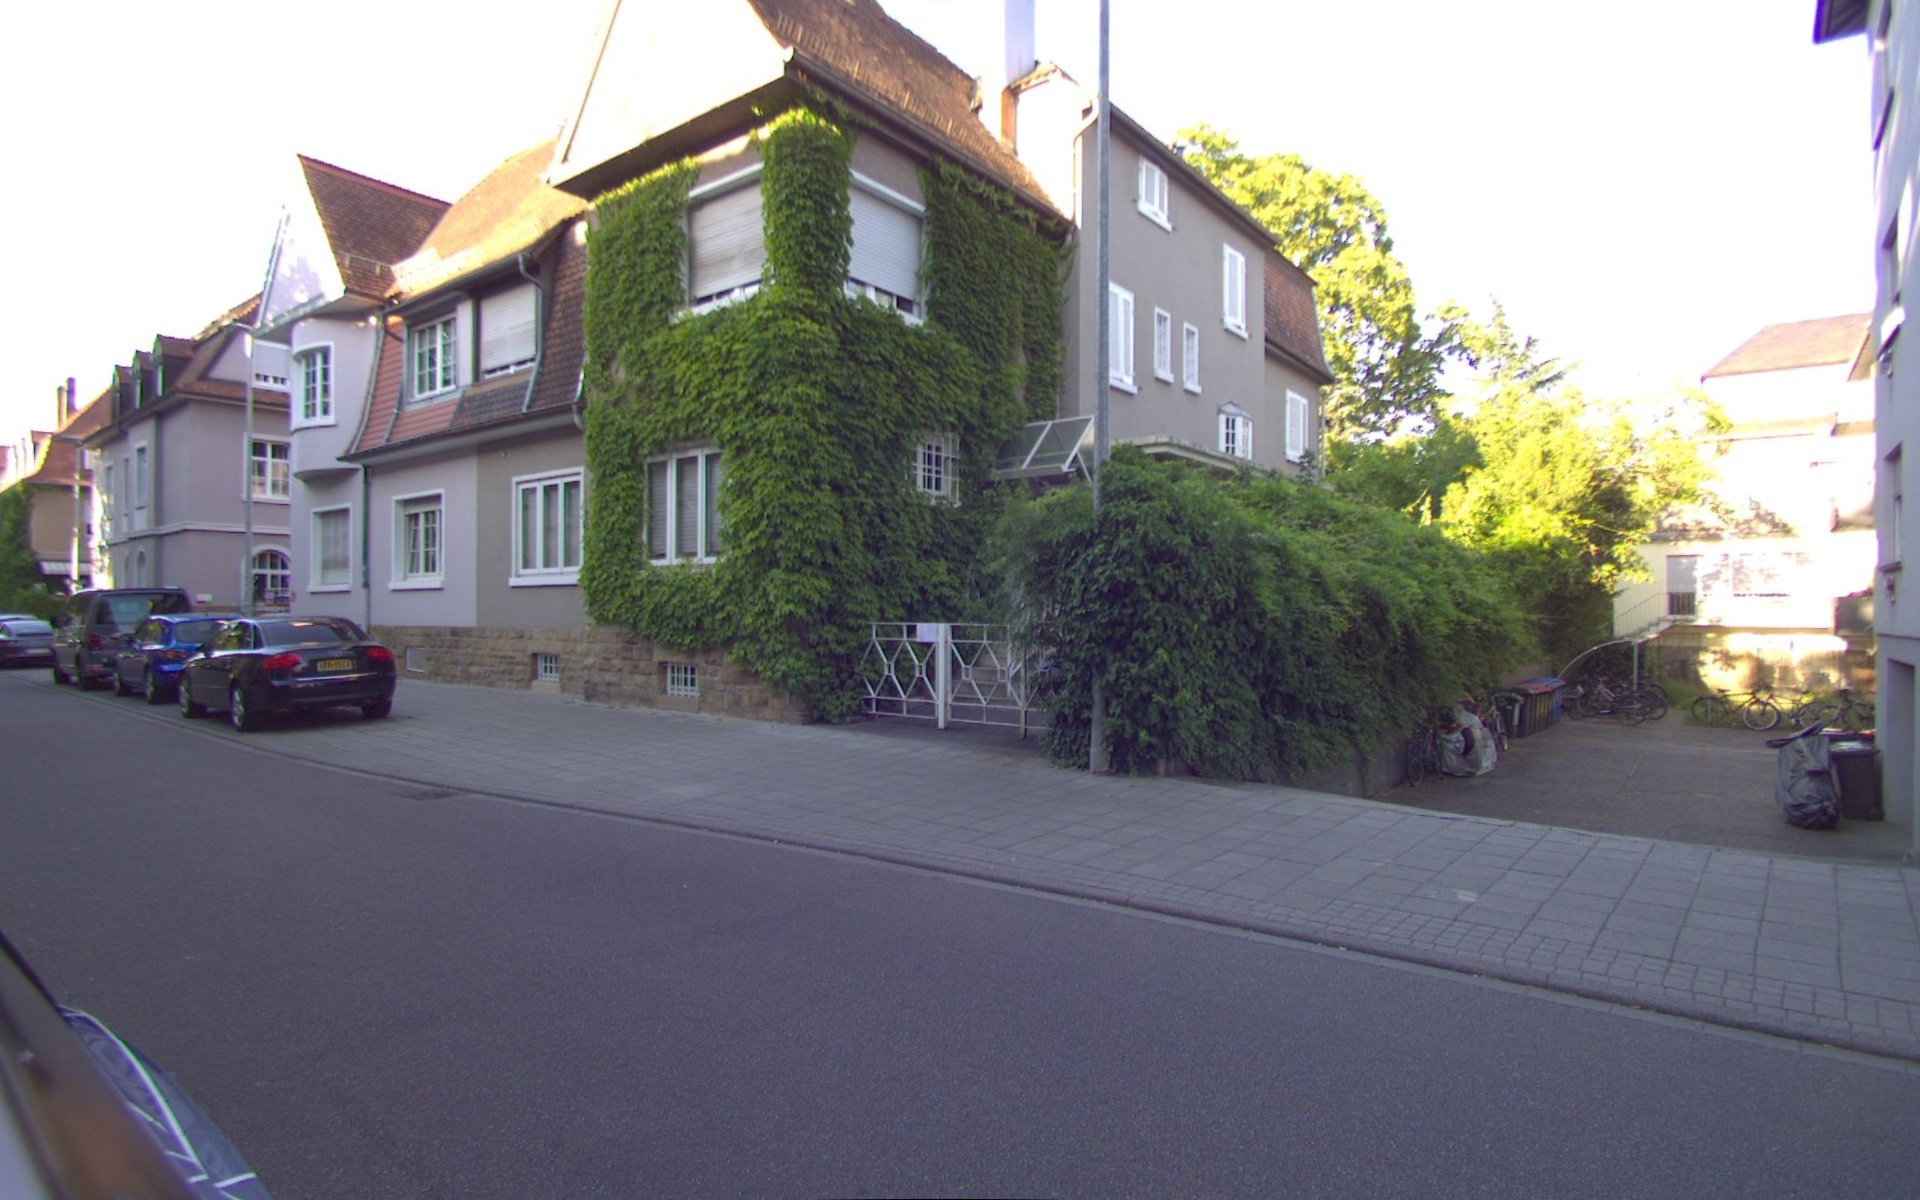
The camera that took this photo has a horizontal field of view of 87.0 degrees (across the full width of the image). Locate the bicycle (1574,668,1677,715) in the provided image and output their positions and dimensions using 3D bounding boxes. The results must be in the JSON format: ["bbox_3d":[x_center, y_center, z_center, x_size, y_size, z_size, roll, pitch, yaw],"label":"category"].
[{"bbox_3d":[18.615,2.542,28.337,2.338,1.186,0.685,-1,-4,42],"label":"bicycle"}]

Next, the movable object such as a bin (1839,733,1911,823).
[{"bbox_3d":[11.714,2.266,12.968,0.611,1.045,0.532,-1,-4,37],"label":"movable object such as a bin"}]

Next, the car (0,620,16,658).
[{"bbox_3d":[-36.326,1.447,37.511,3.676,1.372,1.641,-1,1,42],"label":"car"}]

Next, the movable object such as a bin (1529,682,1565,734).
[{"bbox_3d":[13.176,2.408,22.718,0.611,1.123,0.792,-1,-4,37],"label":"movable object such as a bin"}]

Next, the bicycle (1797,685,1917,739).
[{"bbox_3d":[20.368,2.530,23.028,2.005,1.080,0.558,-1,-4,42],"label":"bicycle"}]

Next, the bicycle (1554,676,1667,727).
[{"bbox_3d":[16.238,2.513,25.304,2.294,1.142,0.685,-1,-4,42],"label":"bicycle"}]

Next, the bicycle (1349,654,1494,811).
[{"bbox_3d":[6.822,1.781,14.755,0.971,1.907,4.138,-1,-2,38],"label":"bicycle"}]

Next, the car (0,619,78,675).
[{"bbox_3d":[-26.161,1.272,28.300,4.063,1.394,1.906,-1,1,44],"label":"car"}]

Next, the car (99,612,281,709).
[{"bbox_3d":[-13.639,0.985,17.848,4.060,1.457,1.745,-1,1,41],"label":"car"}]

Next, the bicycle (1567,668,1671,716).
[{"bbox_3d":[18.056,2.495,27.769,2.338,1.186,0.685,-1,-4,42],"label":"bicycle"}]

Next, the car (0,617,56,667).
[{"bbox_3d":[-30.175,1.303,32.034,4.061,1.478,1.907,-1,1,42],"label":"car"}]

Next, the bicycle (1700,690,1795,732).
[{"bbox_3d":[18.891,2.655,24.302,1.754,0.886,0.558,-1,-4,42],"label":"bicycle"}]

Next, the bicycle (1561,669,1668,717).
[{"bbox_3d":[17.505,2.468,27.117,2.338,1.142,0.685,-1,-4,42],"label":"bicycle"}]

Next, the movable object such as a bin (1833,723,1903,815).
[{"bbox_3d":[12.296,2.271,13.729,0.611,1.123,0.792,-1,-4,37],"label":"movable object such as a bin"}]

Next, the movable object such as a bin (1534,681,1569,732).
[{"bbox_3d":[13.647,2.440,23.350,0.611,1.123,0.792,-1,-4,37],"label":"movable object such as a bin"}]

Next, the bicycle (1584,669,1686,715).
[{"bbox_3d":[19.198,2.590,28.831,2.338,1.186,0.685,-1,-4,42],"label":"bicycle"}]

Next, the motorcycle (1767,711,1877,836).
[{"bbox_3d":[10.705,2.111,12.627,0.742,1.305,1.565,-1,-2,30],"label":"motorcycle"}]

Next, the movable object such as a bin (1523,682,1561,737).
[{"bbox_3d":[12.700,2.372,22.076,0.611,1.123,0.792,-1,-4,37],"label":"movable object such as a bin"}]

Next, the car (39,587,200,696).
[{"bbox_3d":[-17.528,0.792,21.018,4.610,1.990,1.819,-1,1,41],"label":"car"}]

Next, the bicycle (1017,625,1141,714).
[{"bbox_3d":[1.699,0.930,14.187,0.476,1.111,2.172,-1,-1,45],"label":"bicycle"}]

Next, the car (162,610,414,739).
[{"bbox_3d":[-9.422,0.914,14.045,4.426,1.457,1.783,-1,1,41],"label":"car"}]
